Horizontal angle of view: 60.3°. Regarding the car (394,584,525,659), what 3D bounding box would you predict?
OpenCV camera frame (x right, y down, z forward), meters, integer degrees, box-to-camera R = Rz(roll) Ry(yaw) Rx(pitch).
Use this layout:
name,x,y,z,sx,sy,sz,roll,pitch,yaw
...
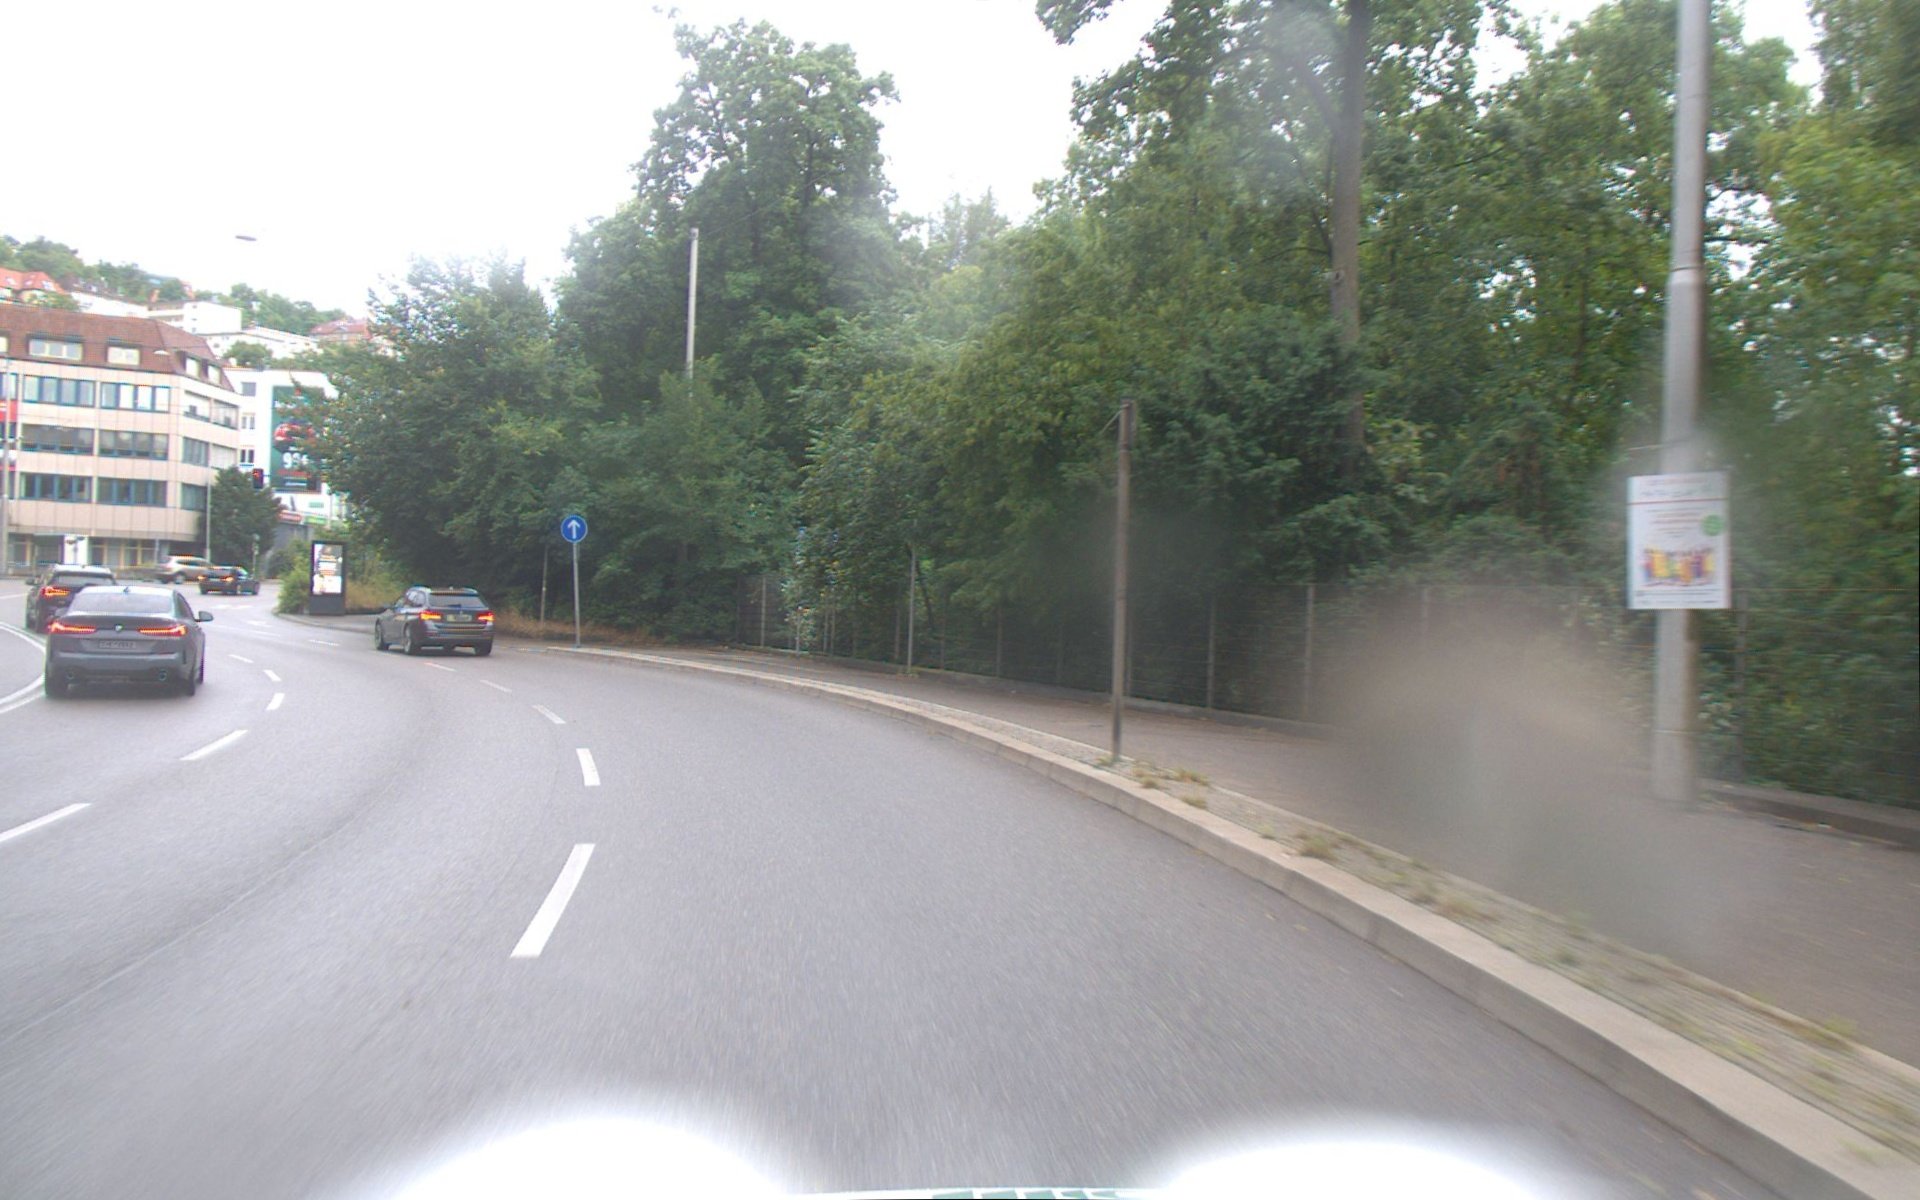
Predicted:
name,x,y,z,sx,sy,sz,roll,pitch,yaw
car,-11.249,0.518,36.995,1.741,1.458,4.363,0,-3,-32

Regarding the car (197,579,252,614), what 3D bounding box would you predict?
name,x,y,z,sx,sy,sz,roll,pitch,yaw
car,-36.894,-0.180,83.045,1.799,1.680,3.985,1,0,-14

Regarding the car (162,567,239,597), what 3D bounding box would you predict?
name,x,y,z,sx,sy,sz,roll,pitch,yaw
car,-45.738,-1.070,99.636,3.966,1.758,1.639,1,0,-42

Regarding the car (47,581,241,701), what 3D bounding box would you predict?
name,x,y,z,sx,sy,sz,roll,pitch,yaw
car,-11.285,0.506,23.158,1.638,1.439,4.520,1,1,-16

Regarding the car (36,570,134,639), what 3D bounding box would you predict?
name,x,y,z,sx,sy,sz,roll,pitch,yaw
car,-21.568,0.099,40.913,1.734,1.613,4.382,0,0,-23
